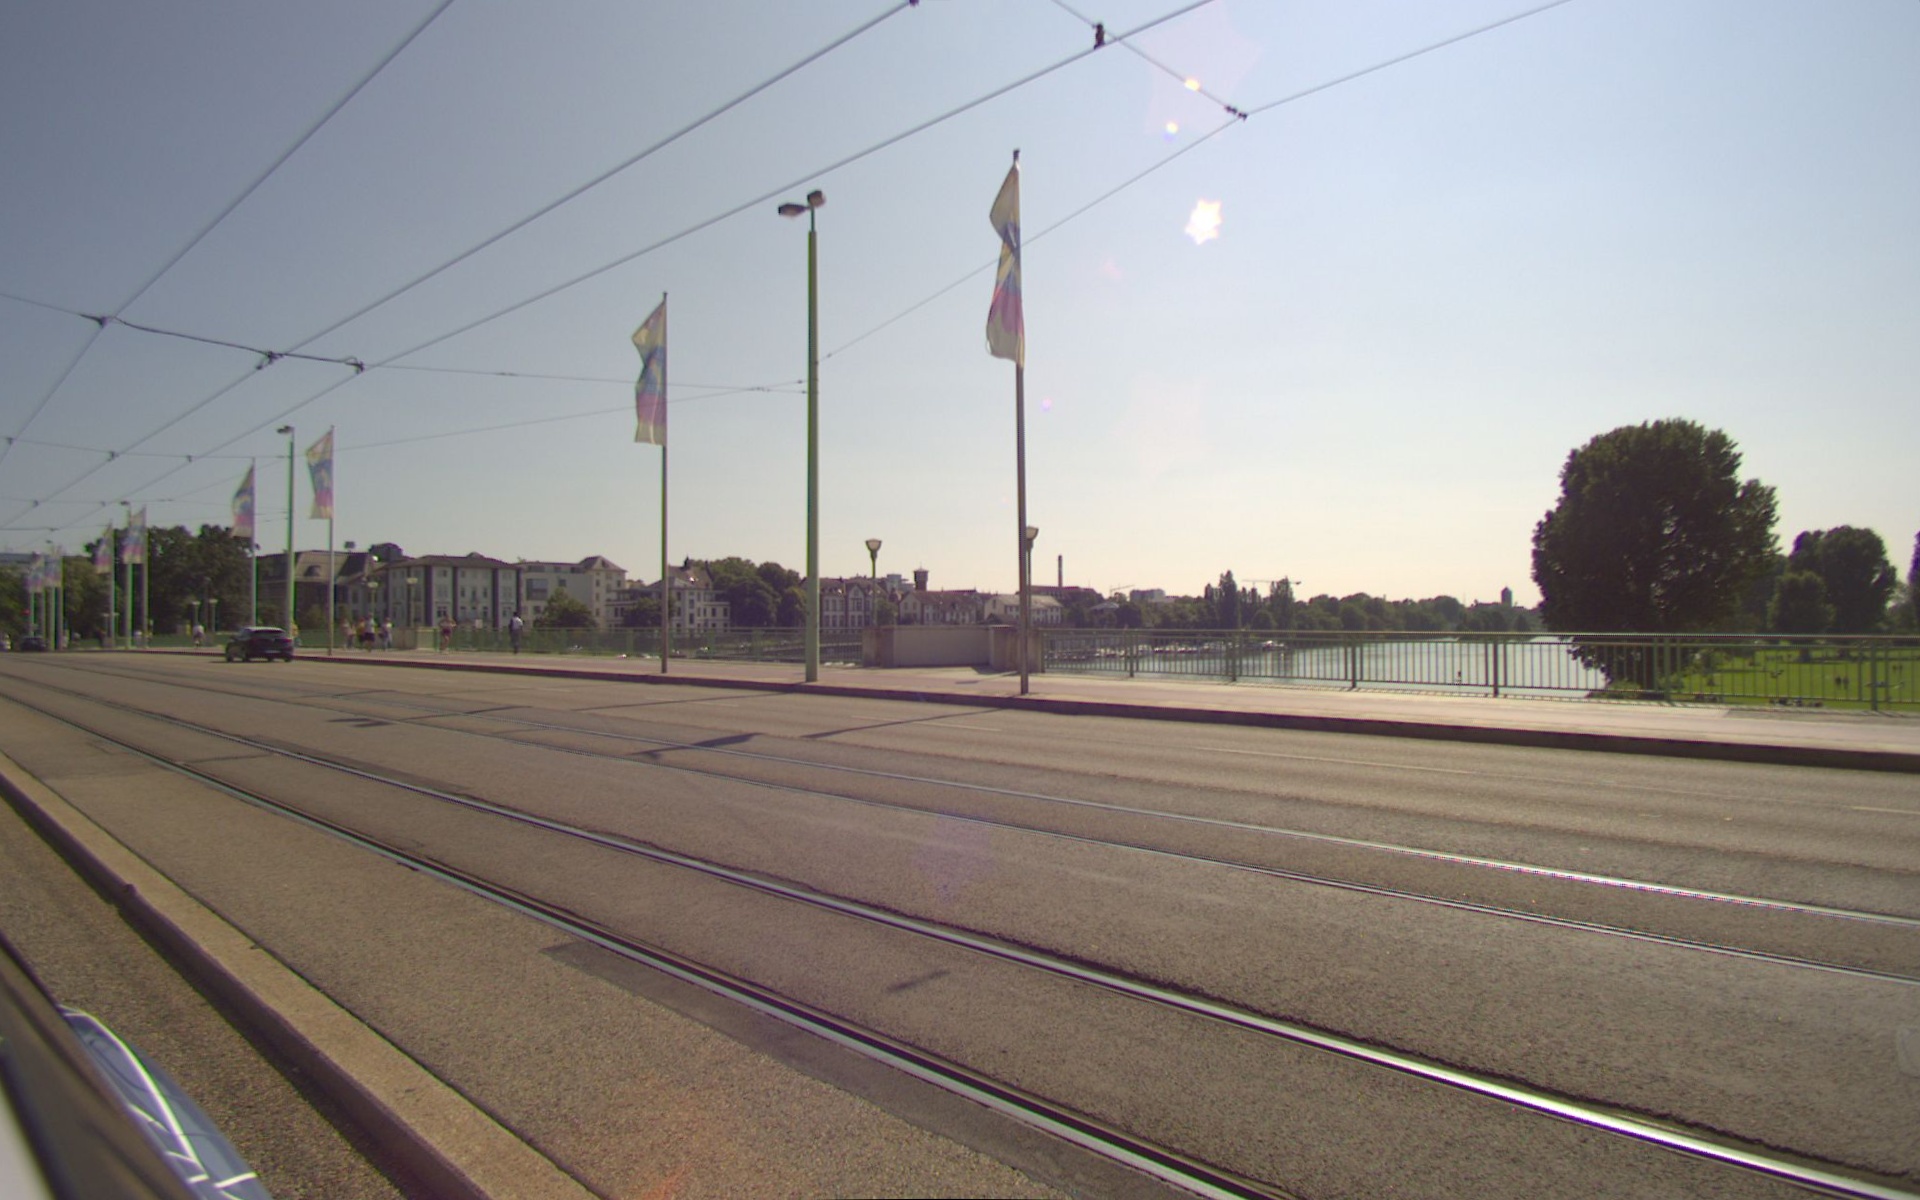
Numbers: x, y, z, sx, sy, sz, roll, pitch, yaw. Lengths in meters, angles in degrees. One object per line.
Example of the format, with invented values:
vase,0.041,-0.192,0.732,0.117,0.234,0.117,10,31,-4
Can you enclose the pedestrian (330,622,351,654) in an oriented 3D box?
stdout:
pedestrian,-31.517,1.919,51.470,1.022,1.611,0.619,-1,0,41

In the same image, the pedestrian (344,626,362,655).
pedestrian,-31.163,2.054,51.972,0.788,1.448,0.540,-1,0,41

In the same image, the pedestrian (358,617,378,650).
pedestrian,-31.149,1.754,53.220,1.022,1.712,0.584,-1,0,41

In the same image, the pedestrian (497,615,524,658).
pedestrian,-18.248,1.479,41.080,1.022,1.712,0.584,-1,0,41

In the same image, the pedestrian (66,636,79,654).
pedestrian,-87.763,4.471,100.104,1.022,1.712,0.777,-1,1,41

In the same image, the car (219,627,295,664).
car,-29.317,1.878,42.155,3.900,1.465,1.698,-1,-2,41

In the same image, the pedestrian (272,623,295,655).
pedestrian,-37.173,2.119,55.635,1.022,1.712,0.777,-1,1,41

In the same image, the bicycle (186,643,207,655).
bicycle,-49.165,3.171,65.177,2.172,0.721,0.658,-1,-2,42

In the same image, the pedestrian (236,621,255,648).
pedestrian,-46.845,2.261,66.366,1.022,1.712,0.777,-1,1,41

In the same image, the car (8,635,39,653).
car,-82.005,3.864,88.636,3.999,1.447,1.650,-1,-2,42

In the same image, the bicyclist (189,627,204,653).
bicyclist,-49.165,2.592,65.191,0.621,1.663,0.657,-2,-2,42

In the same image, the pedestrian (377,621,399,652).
pedestrian,-27.050,1.725,47.858,1.022,1.425,0.584,-1,0,41

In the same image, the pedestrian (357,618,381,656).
pedestrian,-27.777,1.733,47.545,1.022,1.712,0.663,-1,0,41

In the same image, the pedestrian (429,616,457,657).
pedestrian,-21.638,1.521,42.371,1.022,1.703,0.677,-1,0,41
